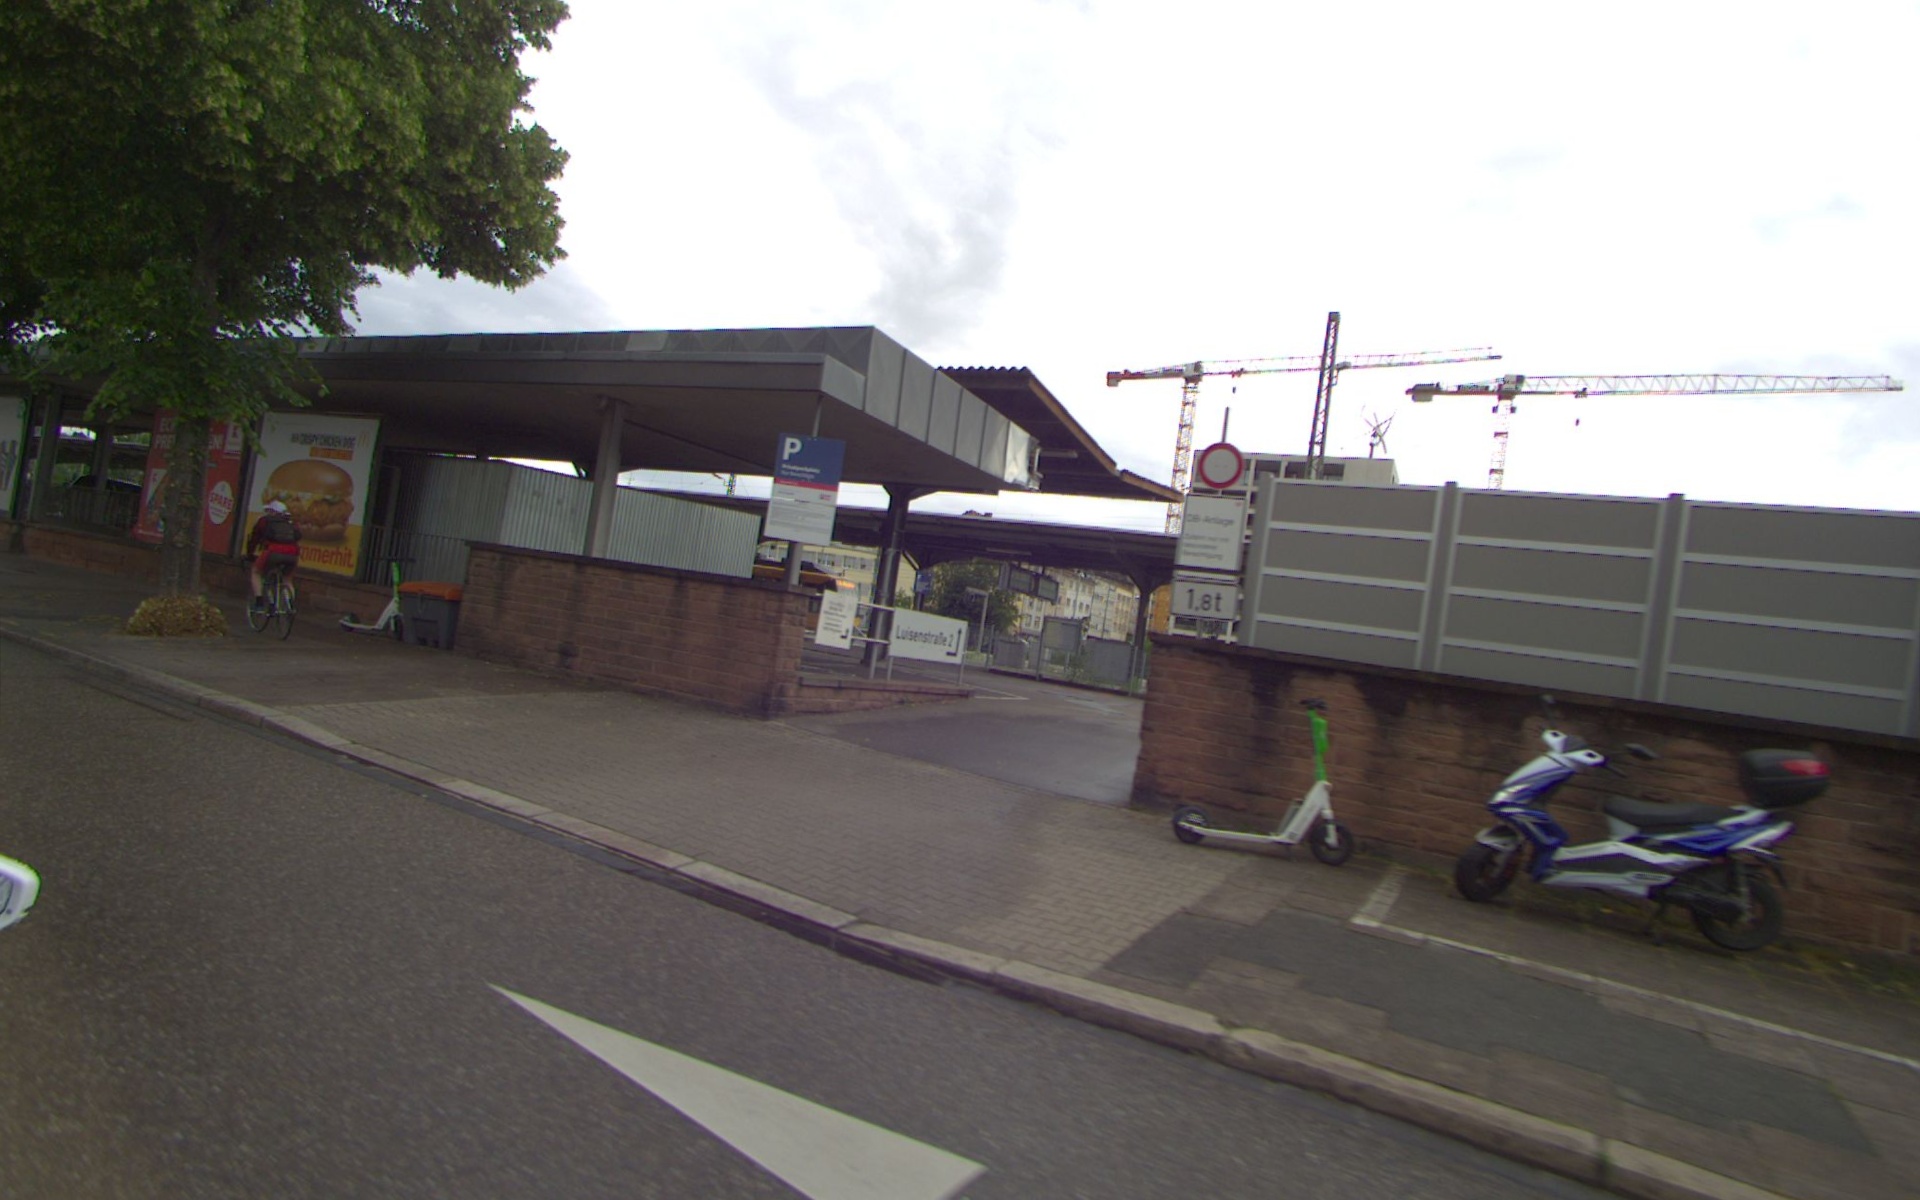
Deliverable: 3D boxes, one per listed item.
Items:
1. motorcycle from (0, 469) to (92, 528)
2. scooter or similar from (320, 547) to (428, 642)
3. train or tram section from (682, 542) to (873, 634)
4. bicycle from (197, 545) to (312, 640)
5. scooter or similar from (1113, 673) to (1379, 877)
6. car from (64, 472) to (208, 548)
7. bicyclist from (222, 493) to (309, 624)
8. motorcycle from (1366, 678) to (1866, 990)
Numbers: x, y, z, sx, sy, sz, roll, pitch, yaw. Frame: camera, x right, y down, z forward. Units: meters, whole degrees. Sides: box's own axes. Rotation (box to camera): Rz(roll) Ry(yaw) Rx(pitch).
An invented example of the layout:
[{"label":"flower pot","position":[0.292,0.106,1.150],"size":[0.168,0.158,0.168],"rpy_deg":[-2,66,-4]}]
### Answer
[{"label":"motorcycle","position":[-32.432,-3.575,35.608],"size":[0.682,1.628,2.347],"rpy_deg":[7,-2,30]},{"label":"scooter or similar","position":[-8.400,-0.087,14.407],"size":[1.518,1.166,0.494],"rpy_deg":[7,0,28]},{"label":"train or tram section","position":[-9.014,-0.629,48.992],"size":[9.358,3.323,2.659],"rpy_deg":[7,0,30]},{"label":"bicycle","position":[-8.995,-0.104,12.808],"size":[1.648,1.029,0.446],"rpy_deg":[7,2,29]},{"label":"scooter or similar","position":[2.039,1.233,7.327],"size":[1.683,1.166,0.495],"rpy_deg":[7,0,11]},{"label":"car","position":[-27.089,-2.962,33.038],"size":[4.519,1.893,1.998],"rpy_deg":[7,-1,29]},{"label":"bicyclist","position":[-8.802,-0.520,12.748],"size":[0.682,1.557,0.534],"rpy_deg":[7,1,28]},{"label":"motorcycle","position":[4.022,1.366,6.459],"size":[2.414,1.364,0.793],"rpy_deg":[7,0,28]}]
